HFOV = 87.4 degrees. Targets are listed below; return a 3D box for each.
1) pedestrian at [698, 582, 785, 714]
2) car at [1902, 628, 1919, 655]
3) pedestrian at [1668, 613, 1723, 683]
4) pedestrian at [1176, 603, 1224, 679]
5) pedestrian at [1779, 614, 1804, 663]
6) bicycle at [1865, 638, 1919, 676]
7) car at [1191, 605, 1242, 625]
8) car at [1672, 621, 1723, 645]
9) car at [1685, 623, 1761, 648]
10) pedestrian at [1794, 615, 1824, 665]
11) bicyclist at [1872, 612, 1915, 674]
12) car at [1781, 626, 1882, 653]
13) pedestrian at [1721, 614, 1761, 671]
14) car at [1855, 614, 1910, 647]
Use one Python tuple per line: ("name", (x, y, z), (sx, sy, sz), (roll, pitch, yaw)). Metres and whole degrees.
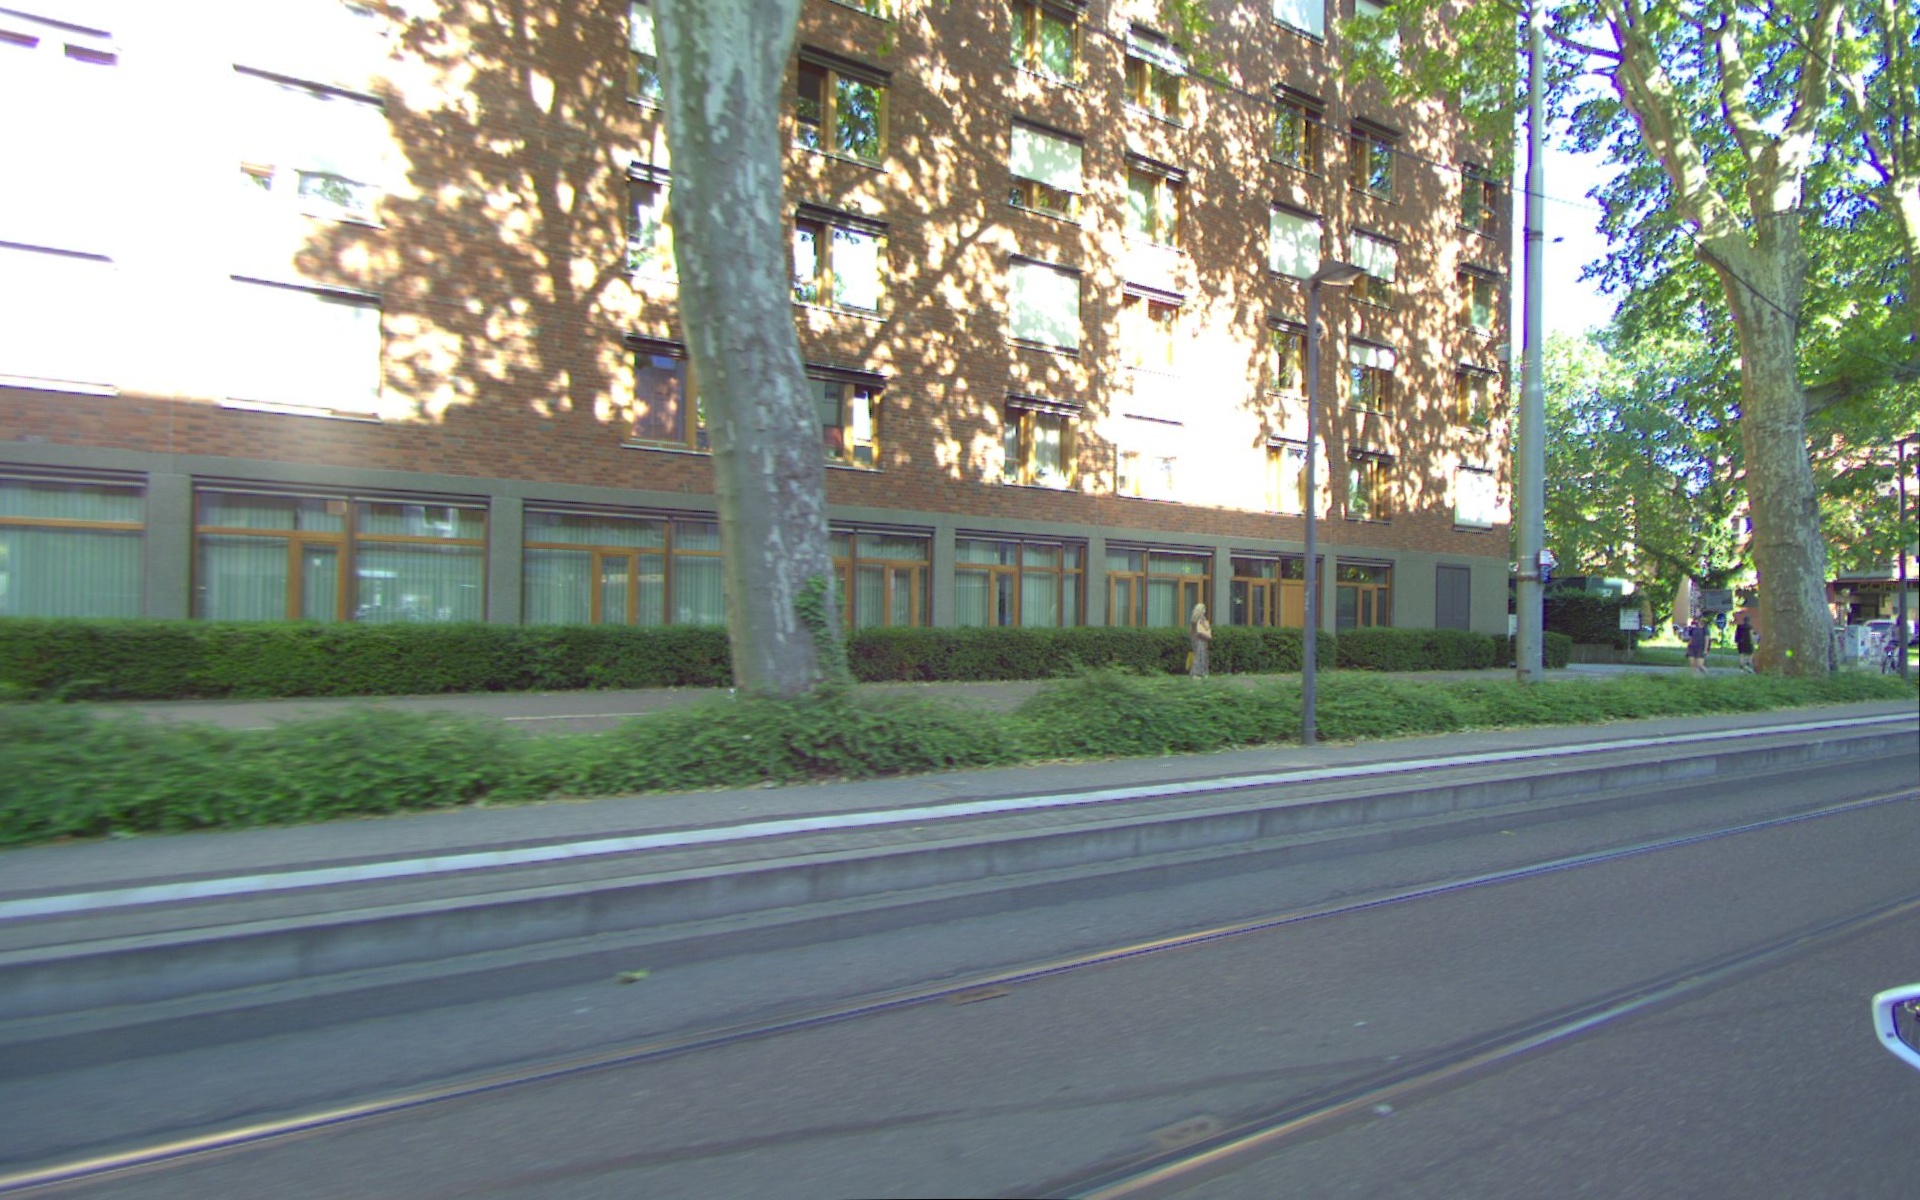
("pedestrian", (-3.048, 0.656, 14.010), (0.961, 1.767, 0.760), (1, 0, -30))
("car", (57.005, 2.460, 57.314), (1.842, 1.509, 4.496), (2, 0, -35))
("pedestrian", (18.308, 1.186, 25.014), (0.957, 1.694, 0.735), (1, 0, -29))
("pedestrian", (5.151, 0.874, 21.532), (0.707, 1.594, 0.661), (1, 0, -30))
("pedestrian", (29.683, 1.378, 35.871), (0.523, 1.728, 0.591), (2, 0, 29))
("bicycle", (28.044, 1.697, 30.178), (1.817, 1.078, 0.712), (2, 0, -29))
("car", (22.691, 1.299, 88.876), (4.050, 1.639, 1.885), (2, 0, -26))
("car", (54.944, 2.443, 74.830), (4.443, 1.639, 1.930), (2, 0, -38))
("car", (50.533, 2.354, 66.561), (1.672, 1.469, 3.683), (2, 0, -35))
("pedestrian", (29.266, 1.367, 34.618), (0.685, 1.681, 0.561), (2, 0, 34))
("bicyclist", (28.051, 1.273, 30.176), (0.828, 1.811, 0.697), (1, 0, -29))
("car", (53.594, 2.393, 61.813), (1.807, 1.469, 4.434), (2, 0, -37))
("pedestrian", (23.692, 1.287, 30.481), (0.770, 1.695, 0.706), (1, 0, -30))
("car", (60.294, 2.003, 65.599), (4.879, 2.030, 1.977), (2, 0, -40))
